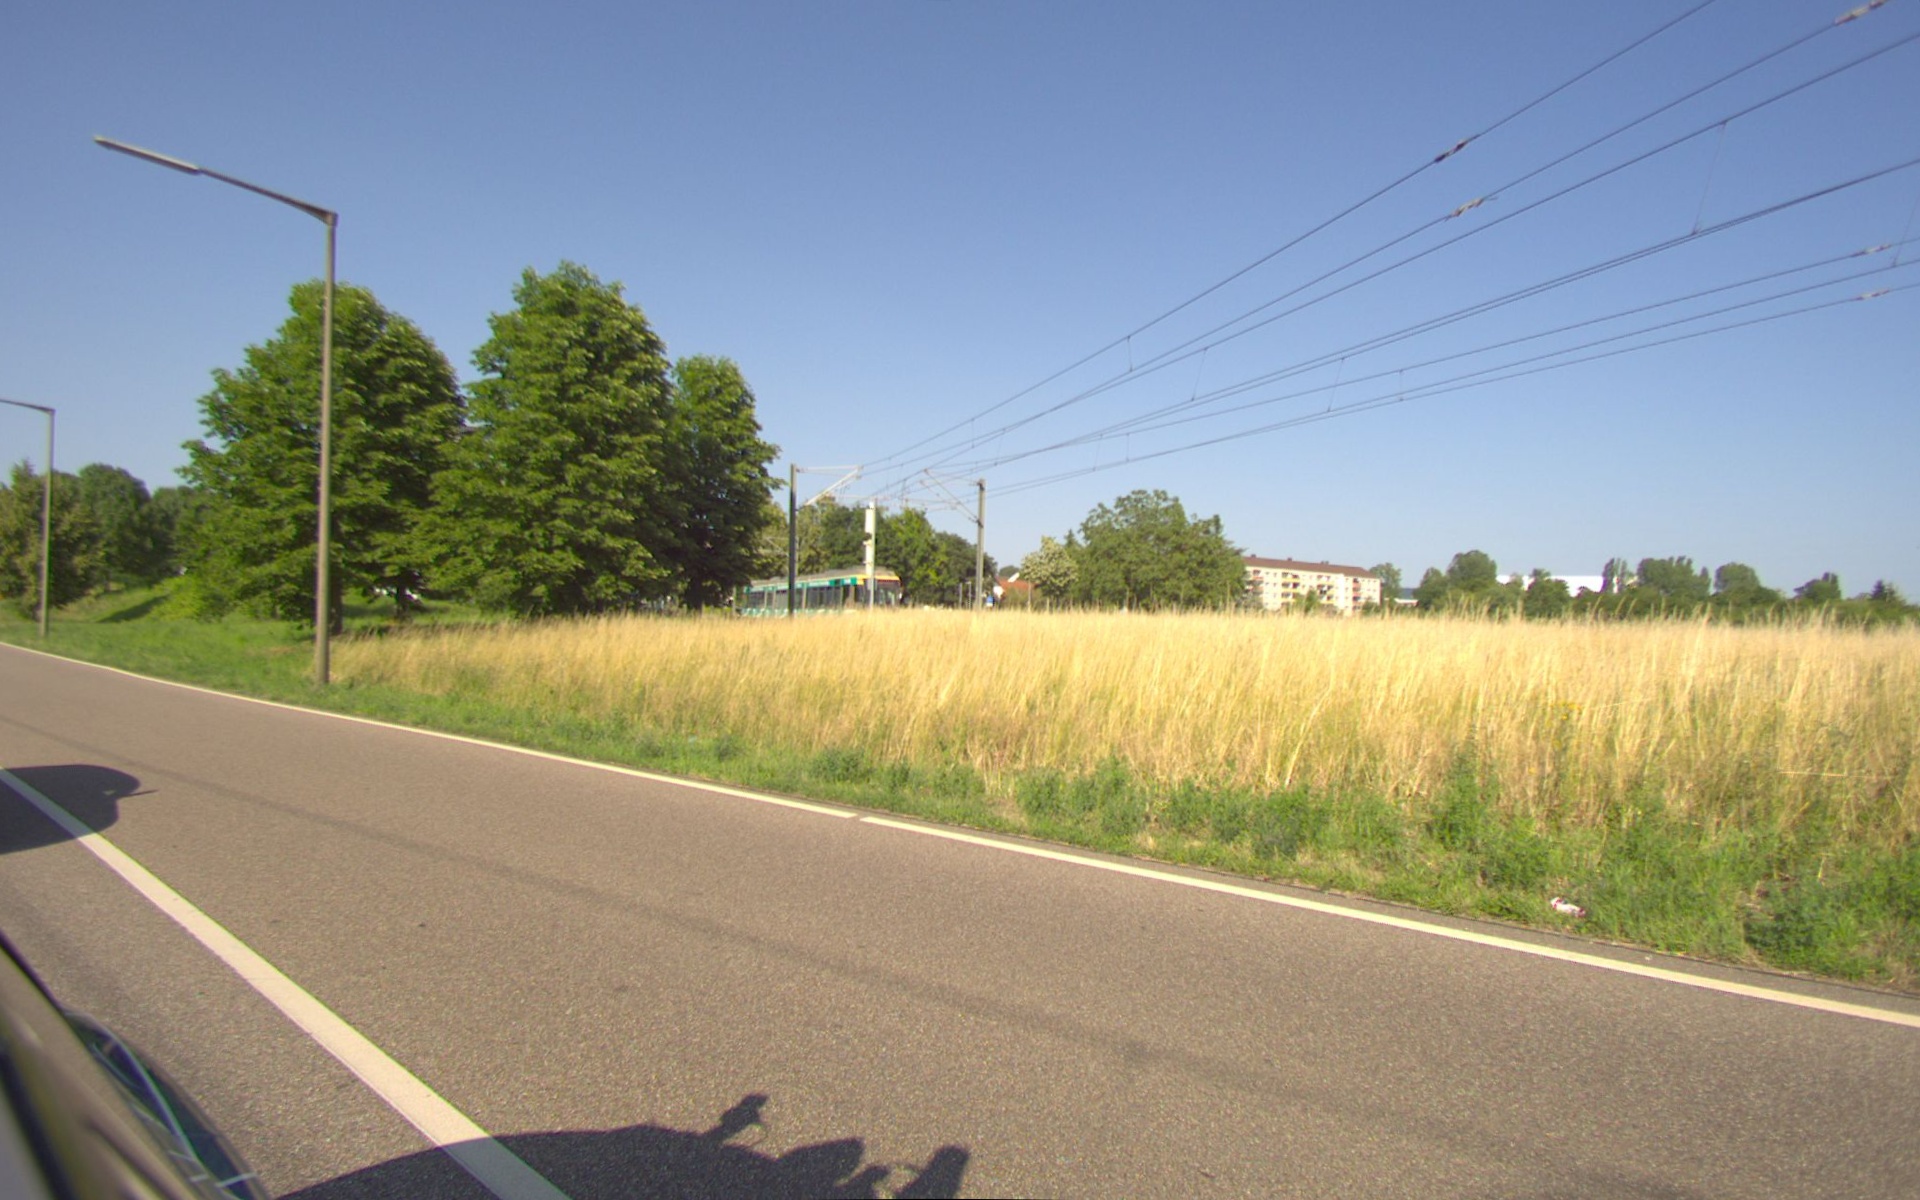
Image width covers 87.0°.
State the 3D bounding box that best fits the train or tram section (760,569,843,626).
[{"bbox_3d":[-10.842,-0.214,67.888,2.876,3.480,12.206,0,1,-21],"label":"train or tram section"}]

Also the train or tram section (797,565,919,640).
[{"bbox_3d":[-5.991,-0.048,55.598,2.865,3.595,14.309,0,1,-22],"label":"train or tram section"}]

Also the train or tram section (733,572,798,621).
[{"bbox_3d":[-15.380,-0.255,79.258,2.908,3.511,12.205,0,0,-21],"label":"train or tram section"}]
